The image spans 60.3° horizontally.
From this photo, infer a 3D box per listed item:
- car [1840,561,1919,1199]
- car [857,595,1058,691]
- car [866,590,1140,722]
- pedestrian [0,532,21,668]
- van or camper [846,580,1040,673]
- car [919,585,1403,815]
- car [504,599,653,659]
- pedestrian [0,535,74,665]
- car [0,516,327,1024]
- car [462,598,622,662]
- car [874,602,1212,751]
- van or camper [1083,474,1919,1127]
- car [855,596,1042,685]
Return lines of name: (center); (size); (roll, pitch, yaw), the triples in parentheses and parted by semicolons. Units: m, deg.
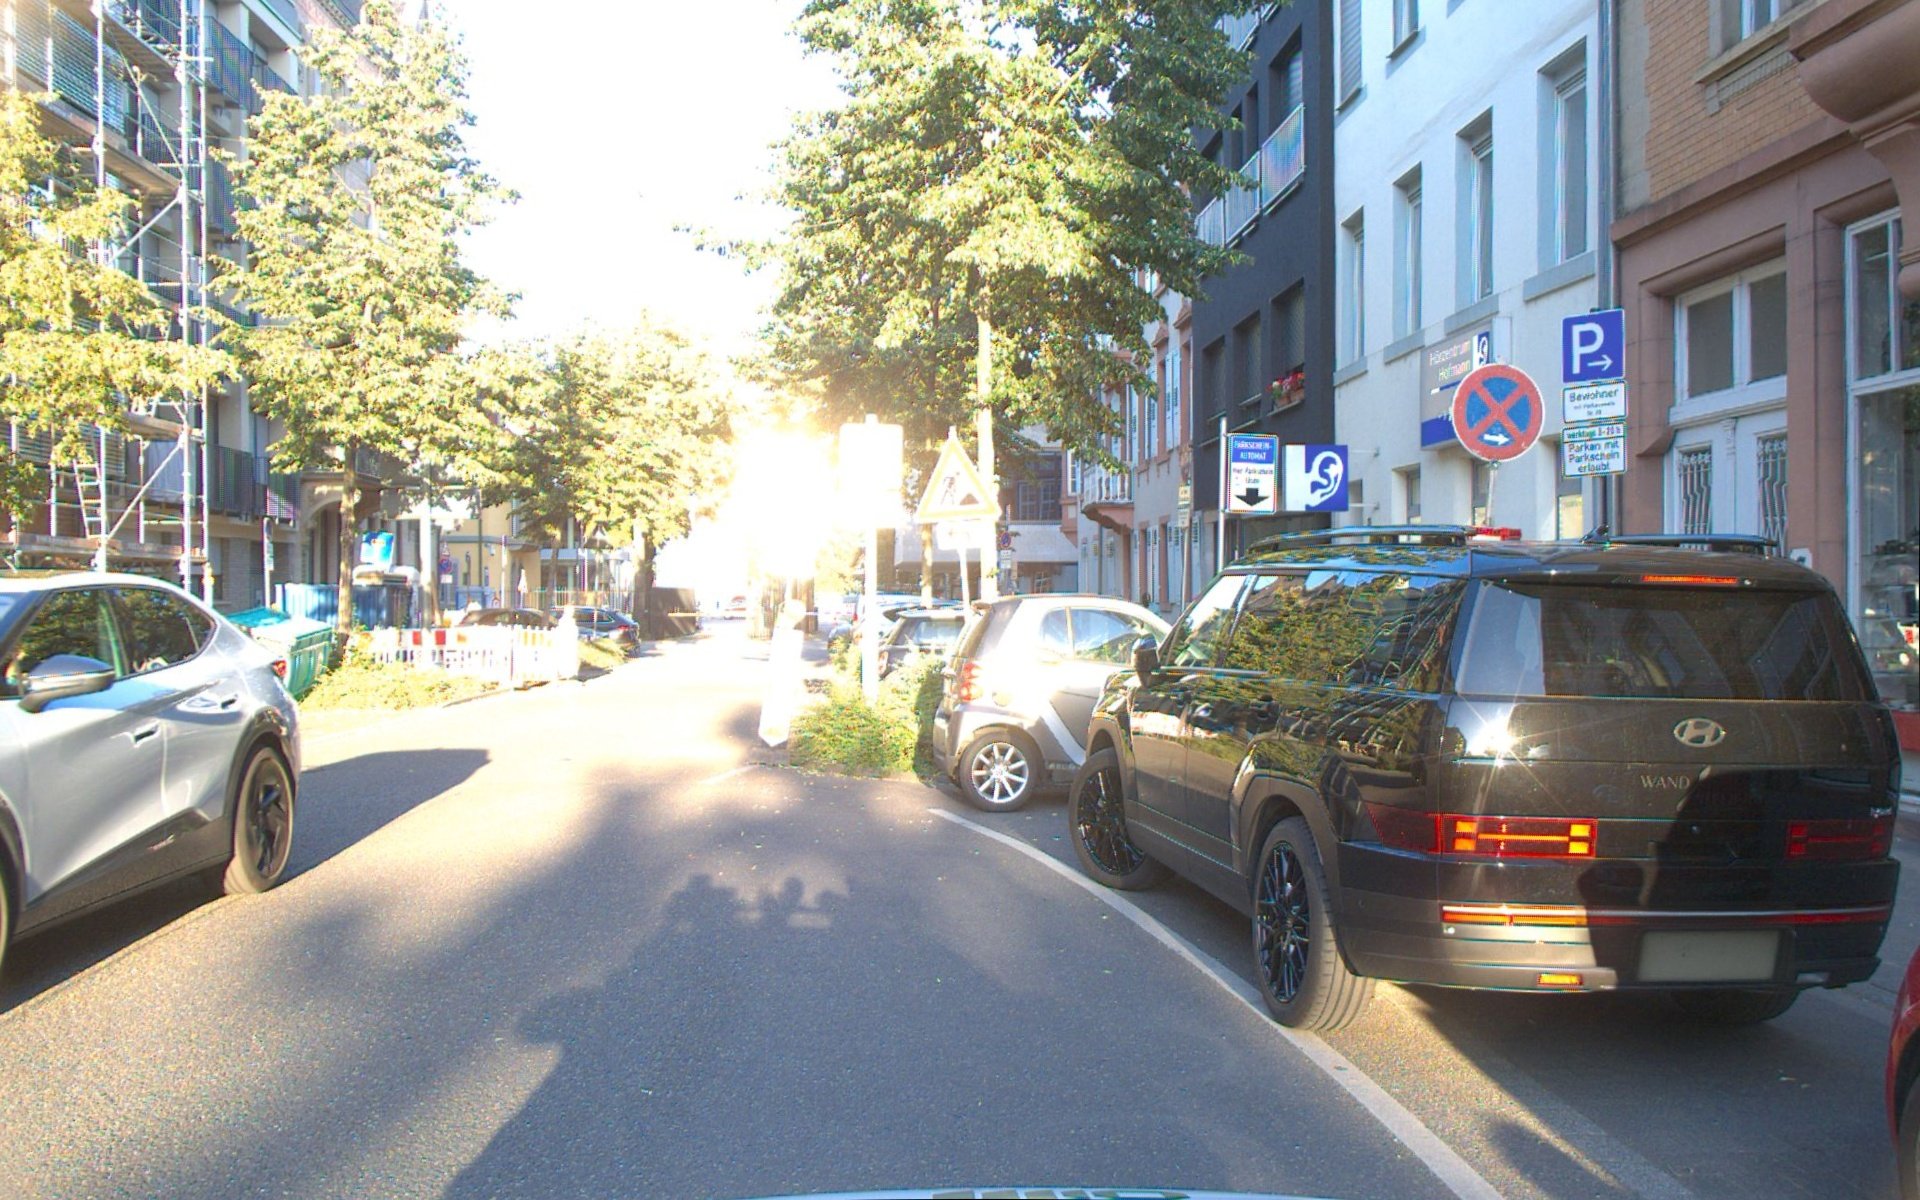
car: (2.985, 0.720, 2.421); (1.495, 1.597, 3.420); (1, 0, -2)
car: (-0.093, 0.787, 31.162); (3.613, 1.699, 1.856); (1, 0, -6)
car: (0.535, 0.757, 23.024); (3.613, 1.699, 1.856); (1, 0, -6)
pedestrian: (-13.246, 0.003, 22.357); (0.726, 1.814, 0.656); (-1, 0, -3)
van or camper: (-0.433, 0.610, 38.553); (4.354, 2.041, 1.856); (1, 0, -6)
car: (1.490, 0.702, 12.723); (3.409, 1.603, 1.503); (0, 0, -12)
car: (-11.045, 0.821, 48.041); (3.906, 1.713, 1.890); (0, 0, -1)
pedestrian: (-13.129, -0.006, 23.509); (0.727, 1.814, 0.656); (-1, 0, -5)
car: (-4.262, 0.615, 6.727); (1.836, 1.727, 4.318); (-2, 0, -3)
car: (-11.421, 0.799, 45.338); (3.906, 1.713, 1.890); (0, 0, -1)
car: (0.952, 0.912, 20.355); (3.918, 1.699, 1.856); (1, 0, -6)
van or camper: (1.914, 0.566, 7.007); (1.854, 1.839, 4.452); (0, 0, -8)
car: (-0.272, 0.800, 33.465); (3.613, 1.699, 1.856); (1, 0, -6)
